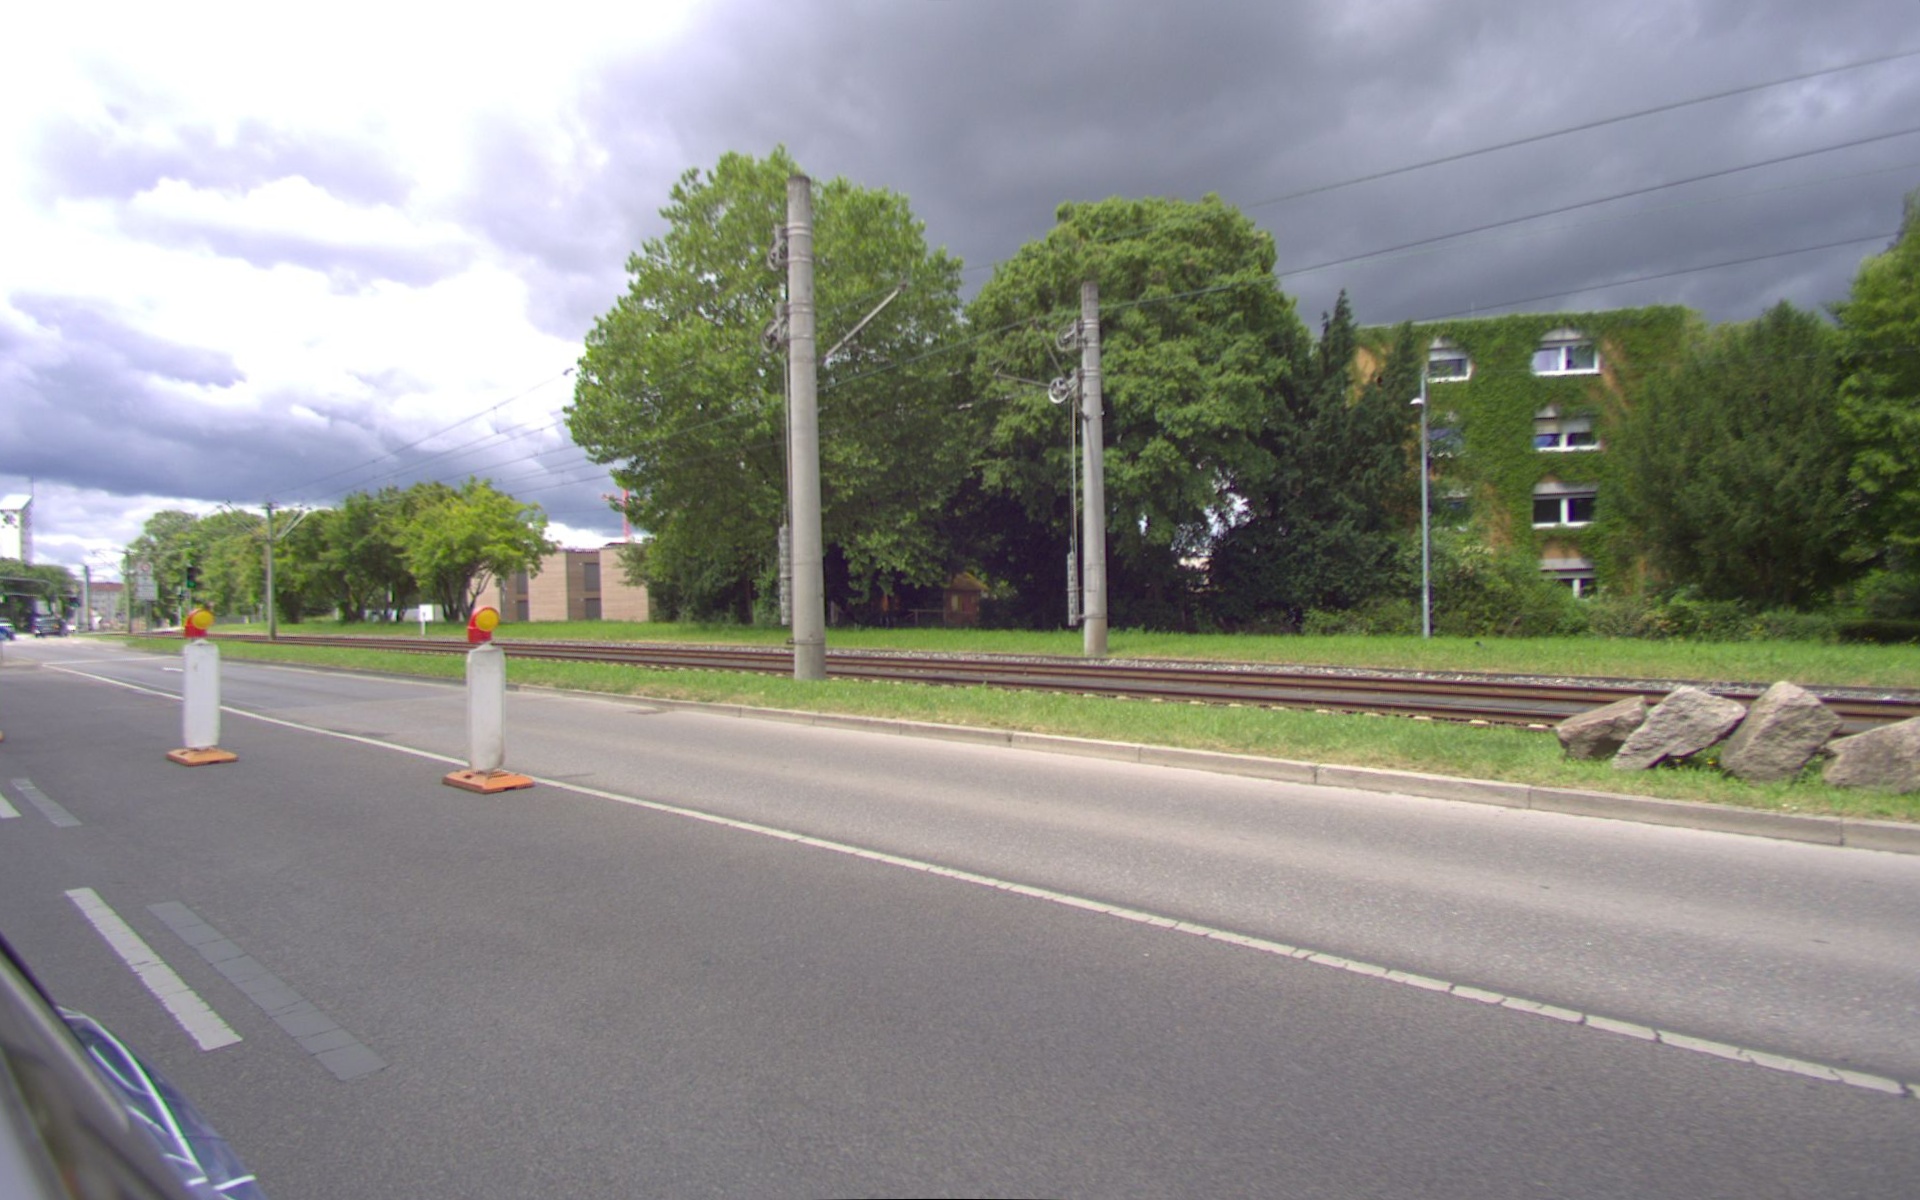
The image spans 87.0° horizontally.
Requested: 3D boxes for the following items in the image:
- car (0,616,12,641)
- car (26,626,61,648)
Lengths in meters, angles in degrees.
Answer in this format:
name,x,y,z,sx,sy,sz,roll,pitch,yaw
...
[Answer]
name,x,y,z,sx,sy,sz,roll,pitch,yaw
car,-69.557,2.070,72.791,4.609,1.622,1.839,-5,-4,44
car,-76.987,3.078,84.959,1.971,1.672,4.525,-2,1,-44
